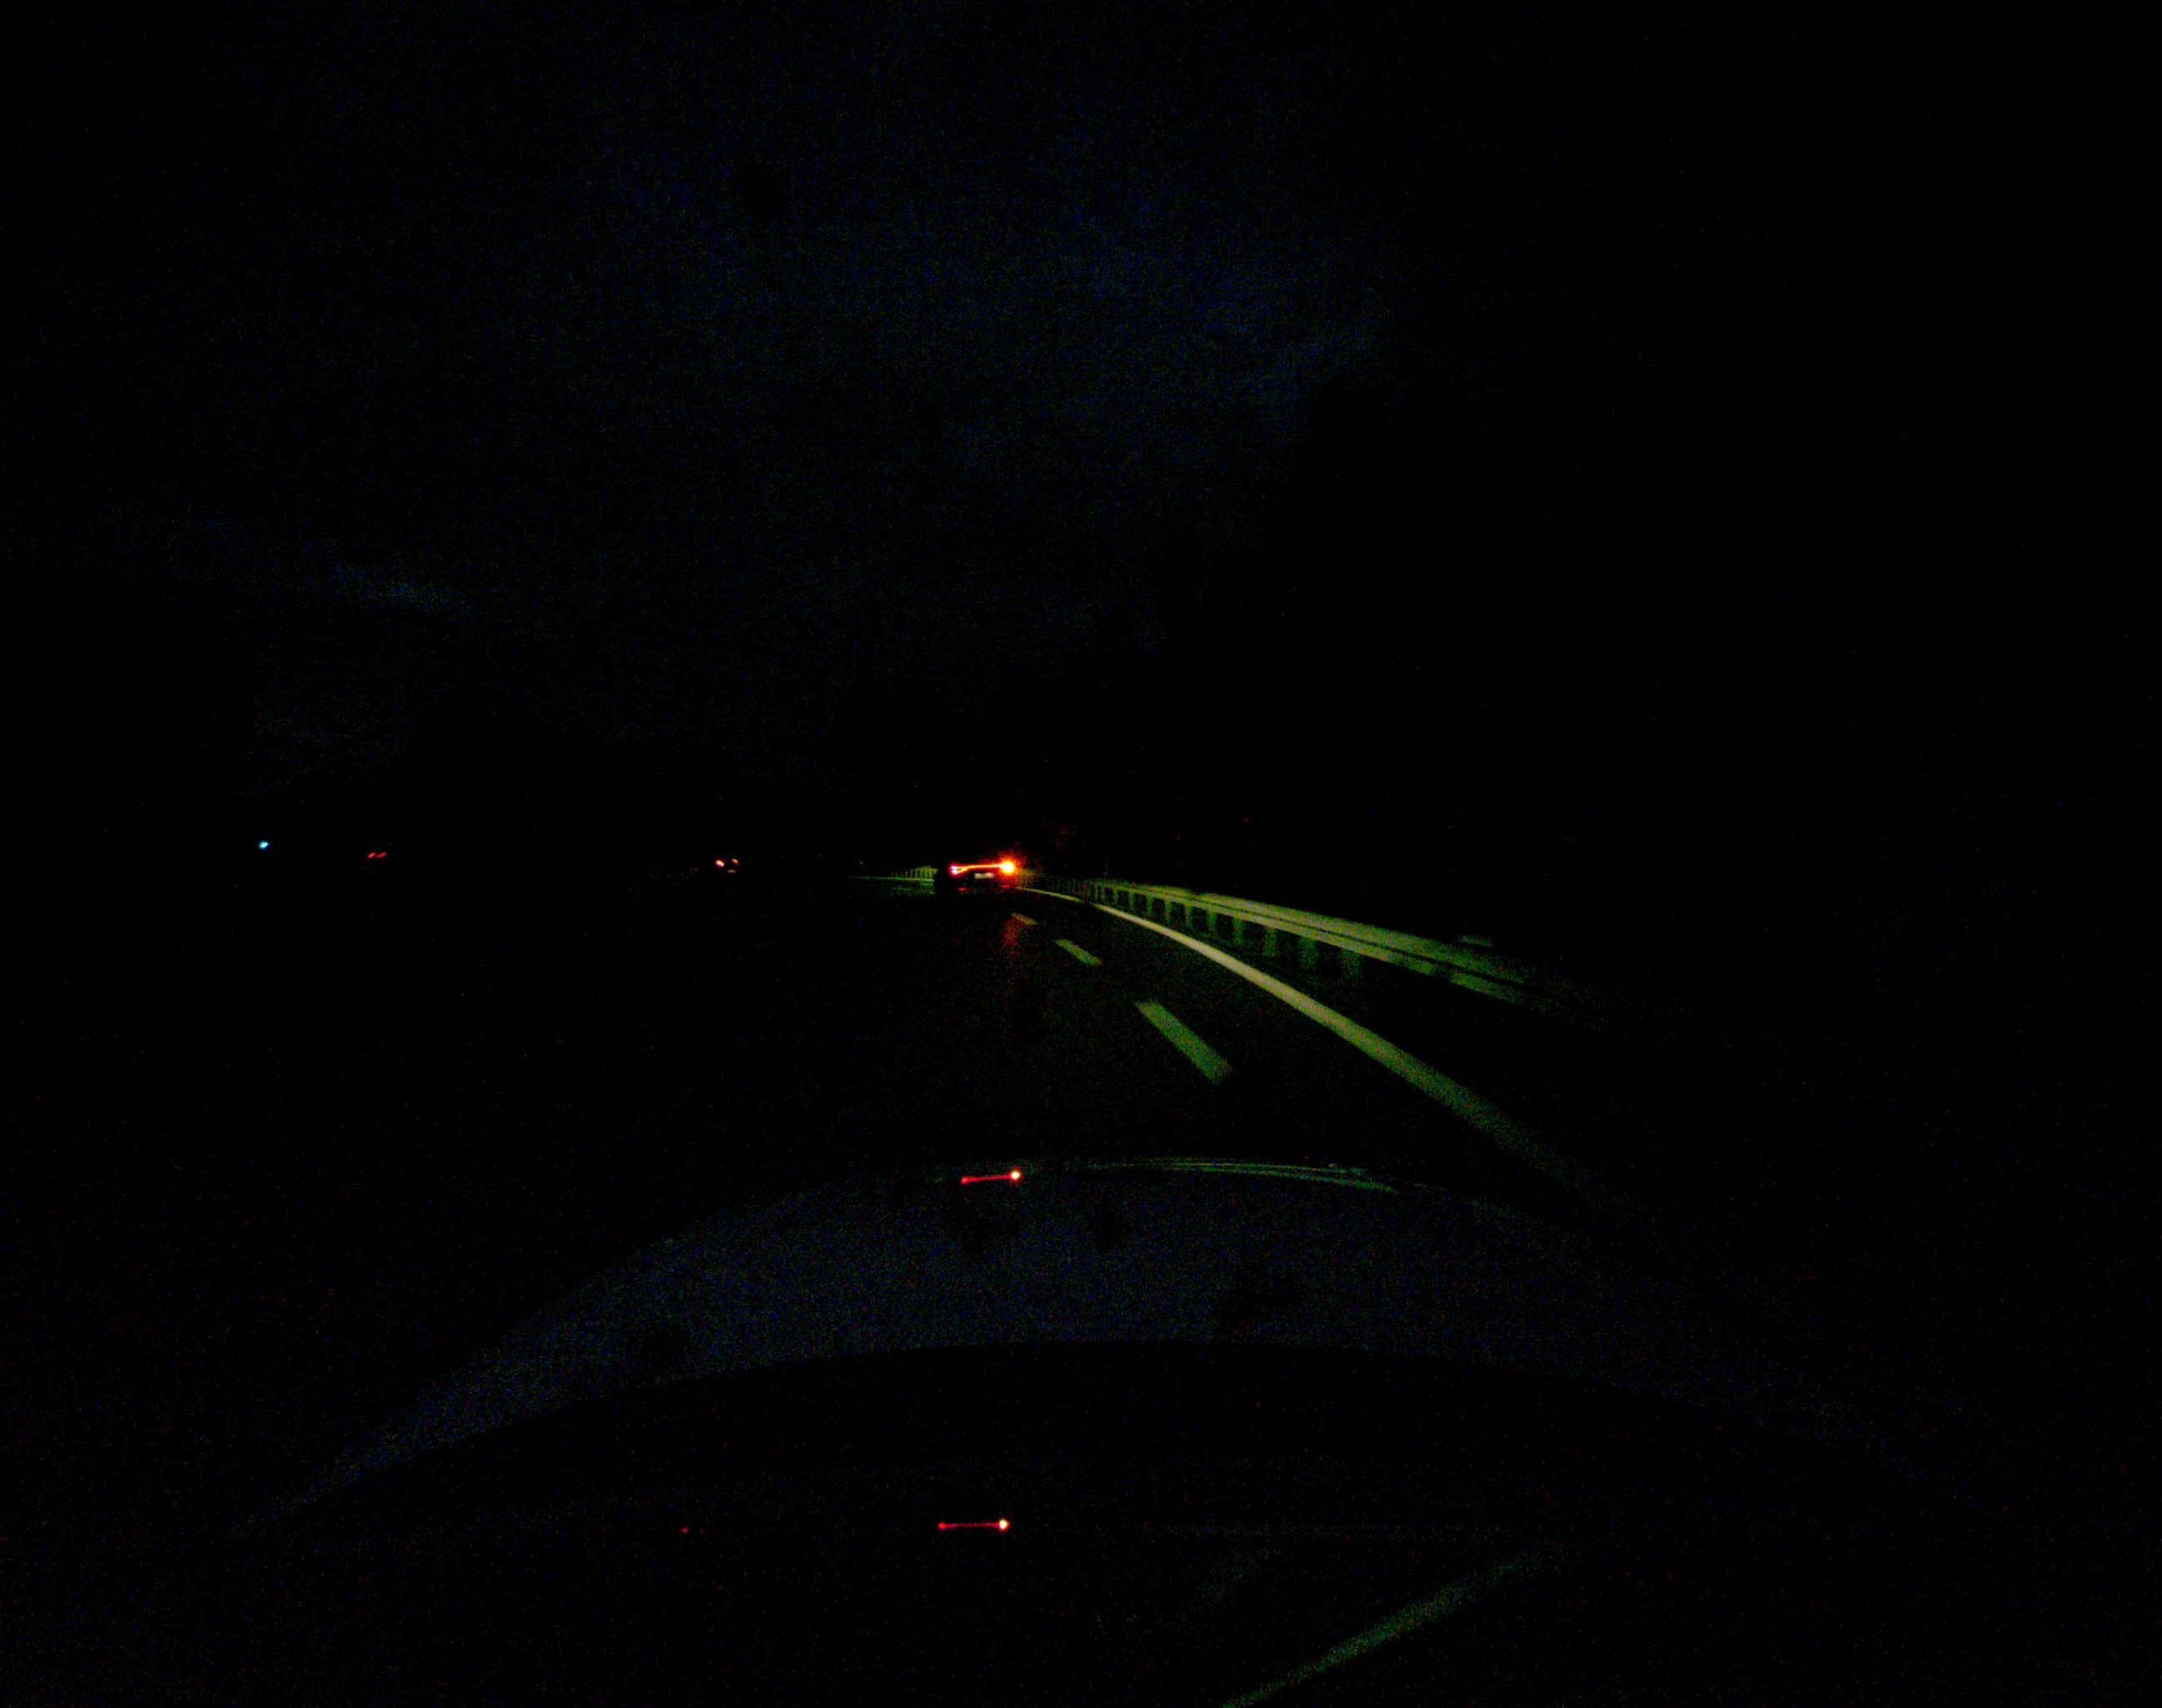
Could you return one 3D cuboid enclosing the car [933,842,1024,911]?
[{"bbox_3d":[-2.954,0.568,22.695,1.996,1.659,4.294,-2,0,-14],"label":"car"}]

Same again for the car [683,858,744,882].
[{"bbox_3d":[-26.245,1.121,58.152,3.949,1.598,2.012,0,0,31],"label":"car"}]
